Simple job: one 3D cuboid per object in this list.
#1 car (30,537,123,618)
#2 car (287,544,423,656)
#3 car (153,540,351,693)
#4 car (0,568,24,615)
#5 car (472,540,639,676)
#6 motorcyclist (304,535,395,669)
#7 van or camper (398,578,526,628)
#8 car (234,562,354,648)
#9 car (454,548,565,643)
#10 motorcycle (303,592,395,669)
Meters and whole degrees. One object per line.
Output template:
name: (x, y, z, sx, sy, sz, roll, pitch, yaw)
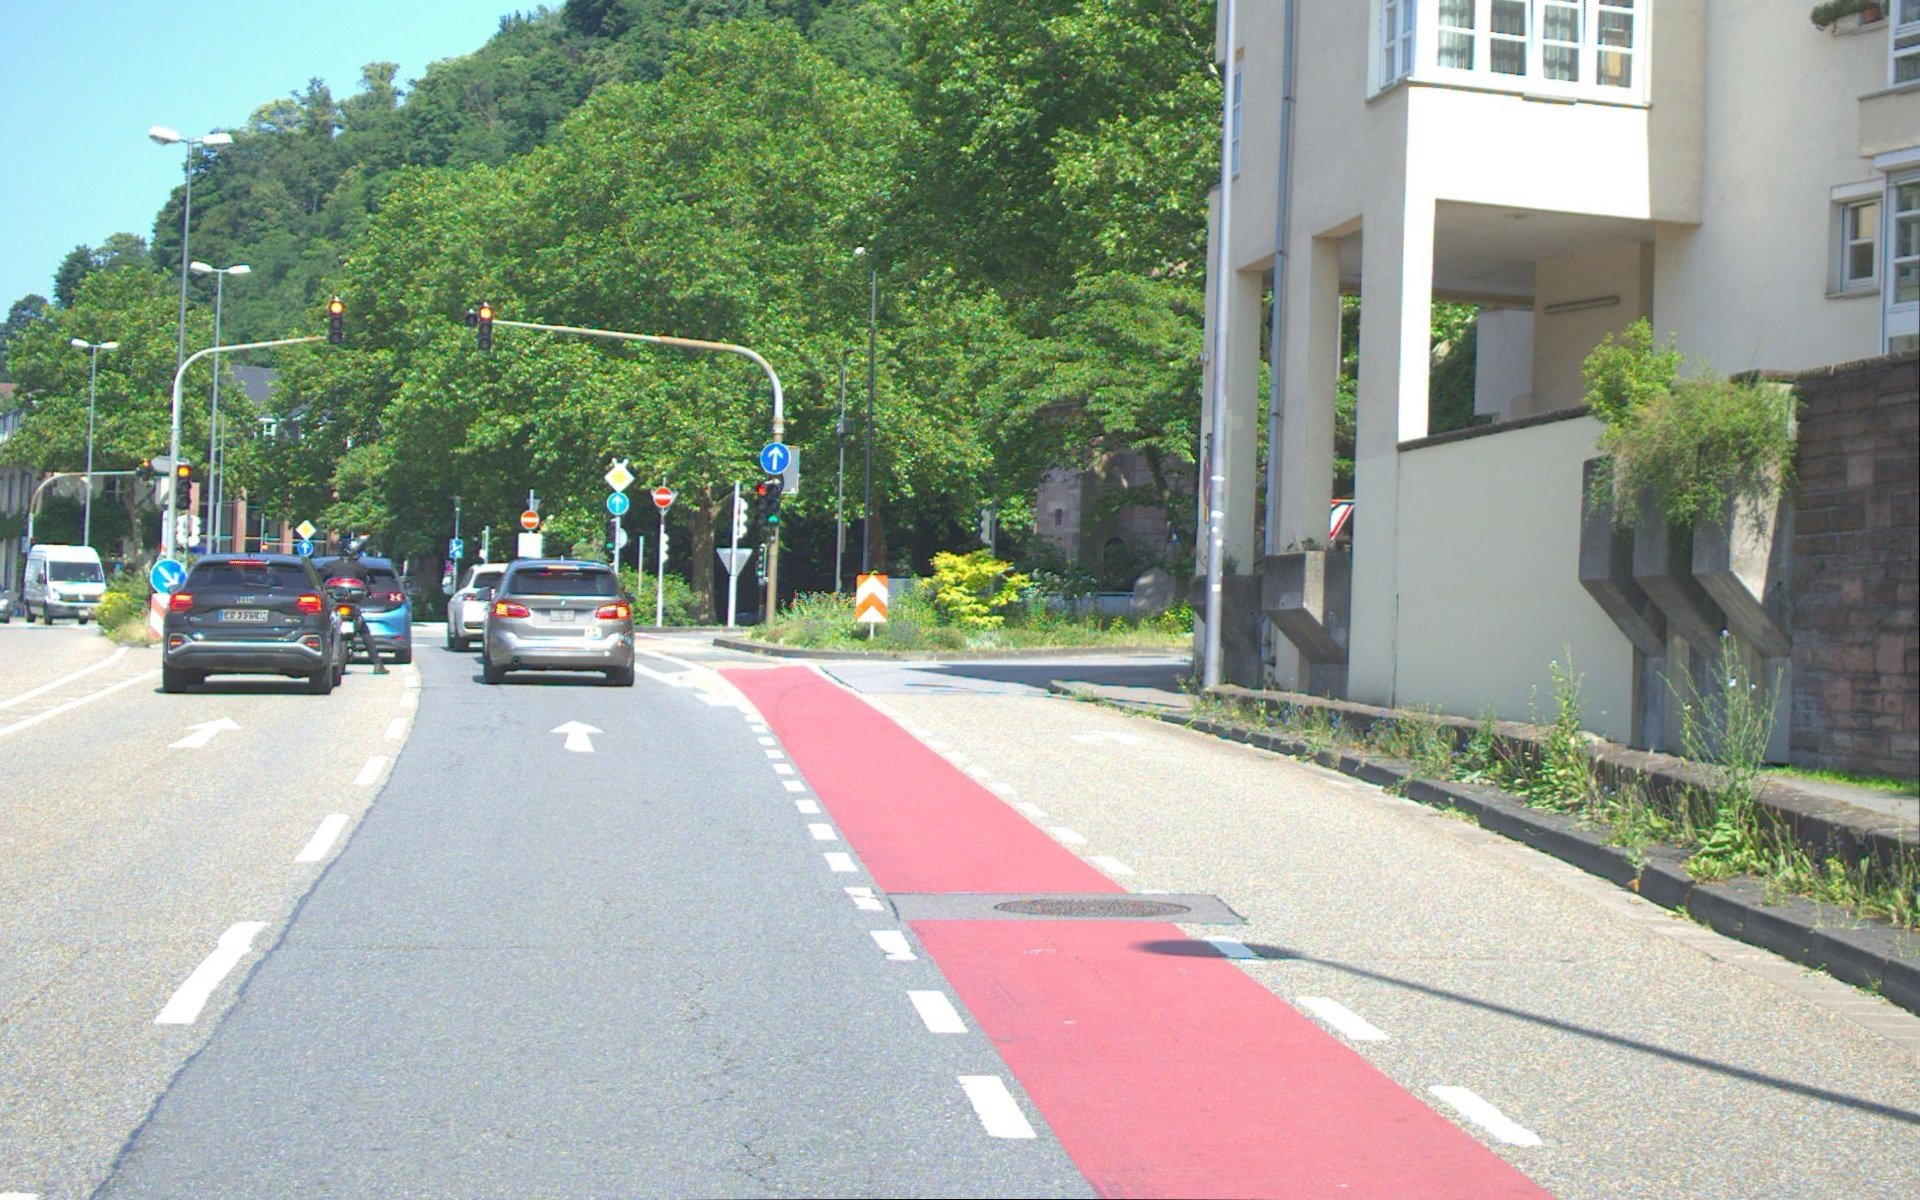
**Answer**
car: (-29.249, -0.764, 113.663, 2.383, 2.568, 6.057, 1, 0, -20)
car: (-8.915, -0.021, 50.766, 1.866, 1.557, 4.001, 1, 1, -9)
car: (-7.745, 0.164, 37.905, 1.868, 1.508, 4.152, 3, 0, -9)
car: (-31.202, -0.310, 110.261, 1.993, 1.427, 4.168, 1, 1, -11)
car: (-5.044, 0.088, 42.841, 1.888, 1.516, 4.306, 3, 0, -7)
motorcyclist: (-7.823, 0.016, 44.105, 1.075, 1.678, 1.156, 1, 1, -8)
van or camper: (-19.334, 0.107, 133.519, 4.543, 1.895, 1.999, 1, 0, 9)
car: (-11.230, 0.064, 58.132, 1.866, 1.354, 4.001, 1, 1, -9)
car: (-7.709, -0.077, 58.576, 1.785, 1.527, 4.738, 1, 0, -8)
motorcycle: (-7.847, 0.379, 44.236, 1.037, 0.916, 2.605, 1, 1, -8)
